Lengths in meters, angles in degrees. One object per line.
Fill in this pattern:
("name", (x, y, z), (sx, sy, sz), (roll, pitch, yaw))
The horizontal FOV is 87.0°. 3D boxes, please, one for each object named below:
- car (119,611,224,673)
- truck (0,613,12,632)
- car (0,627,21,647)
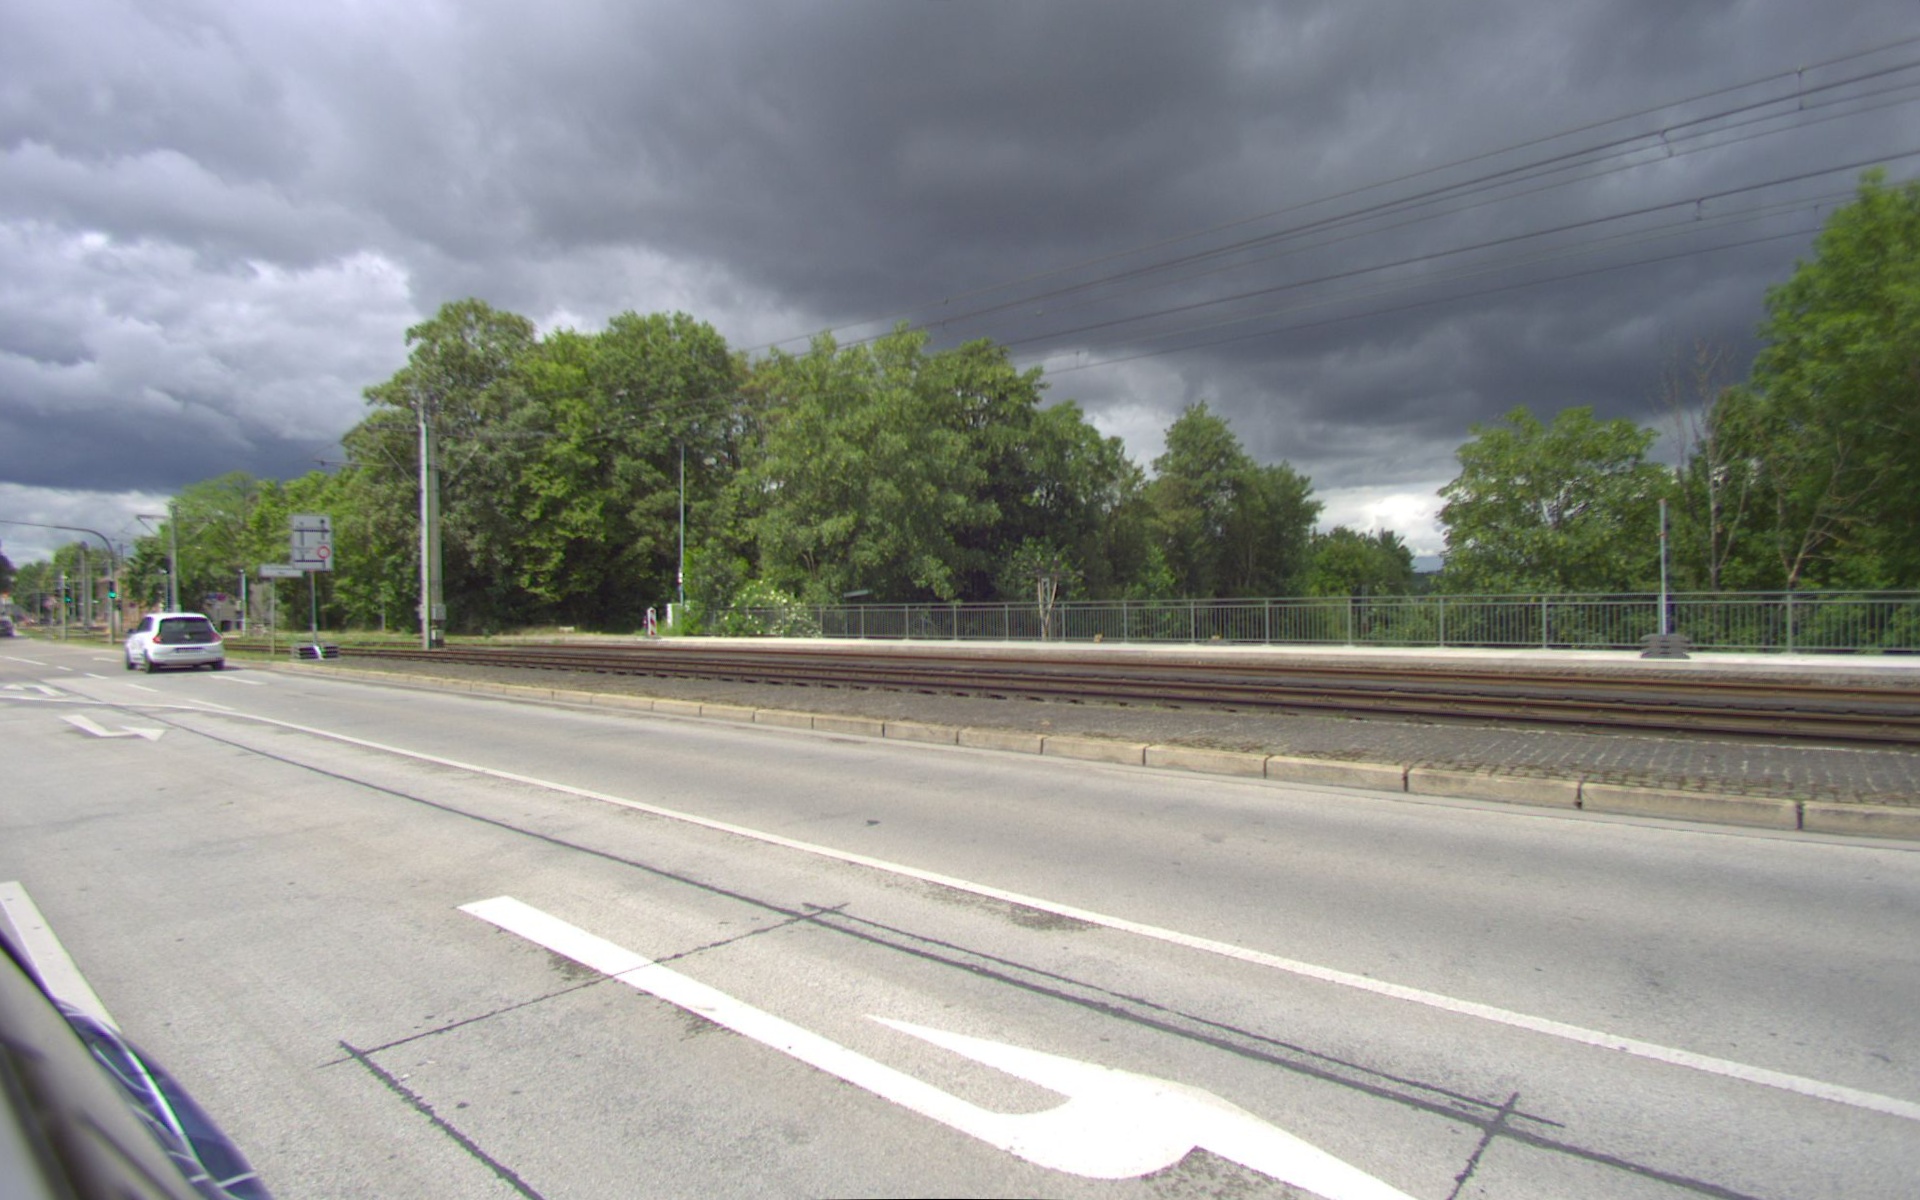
("car", (-21.257, 1.081, 27.255), (3.653, 1.538, 1.576), (-1, 0, 41))
("truck", (-150.504, 3.529, 158.945), (5.099, 2.759, 2.068), (-1, 2, 44))
("car", (-87.933, 3.385, 93.329), (4.230, 1.688, 1.688), (-2, 1, 45))
